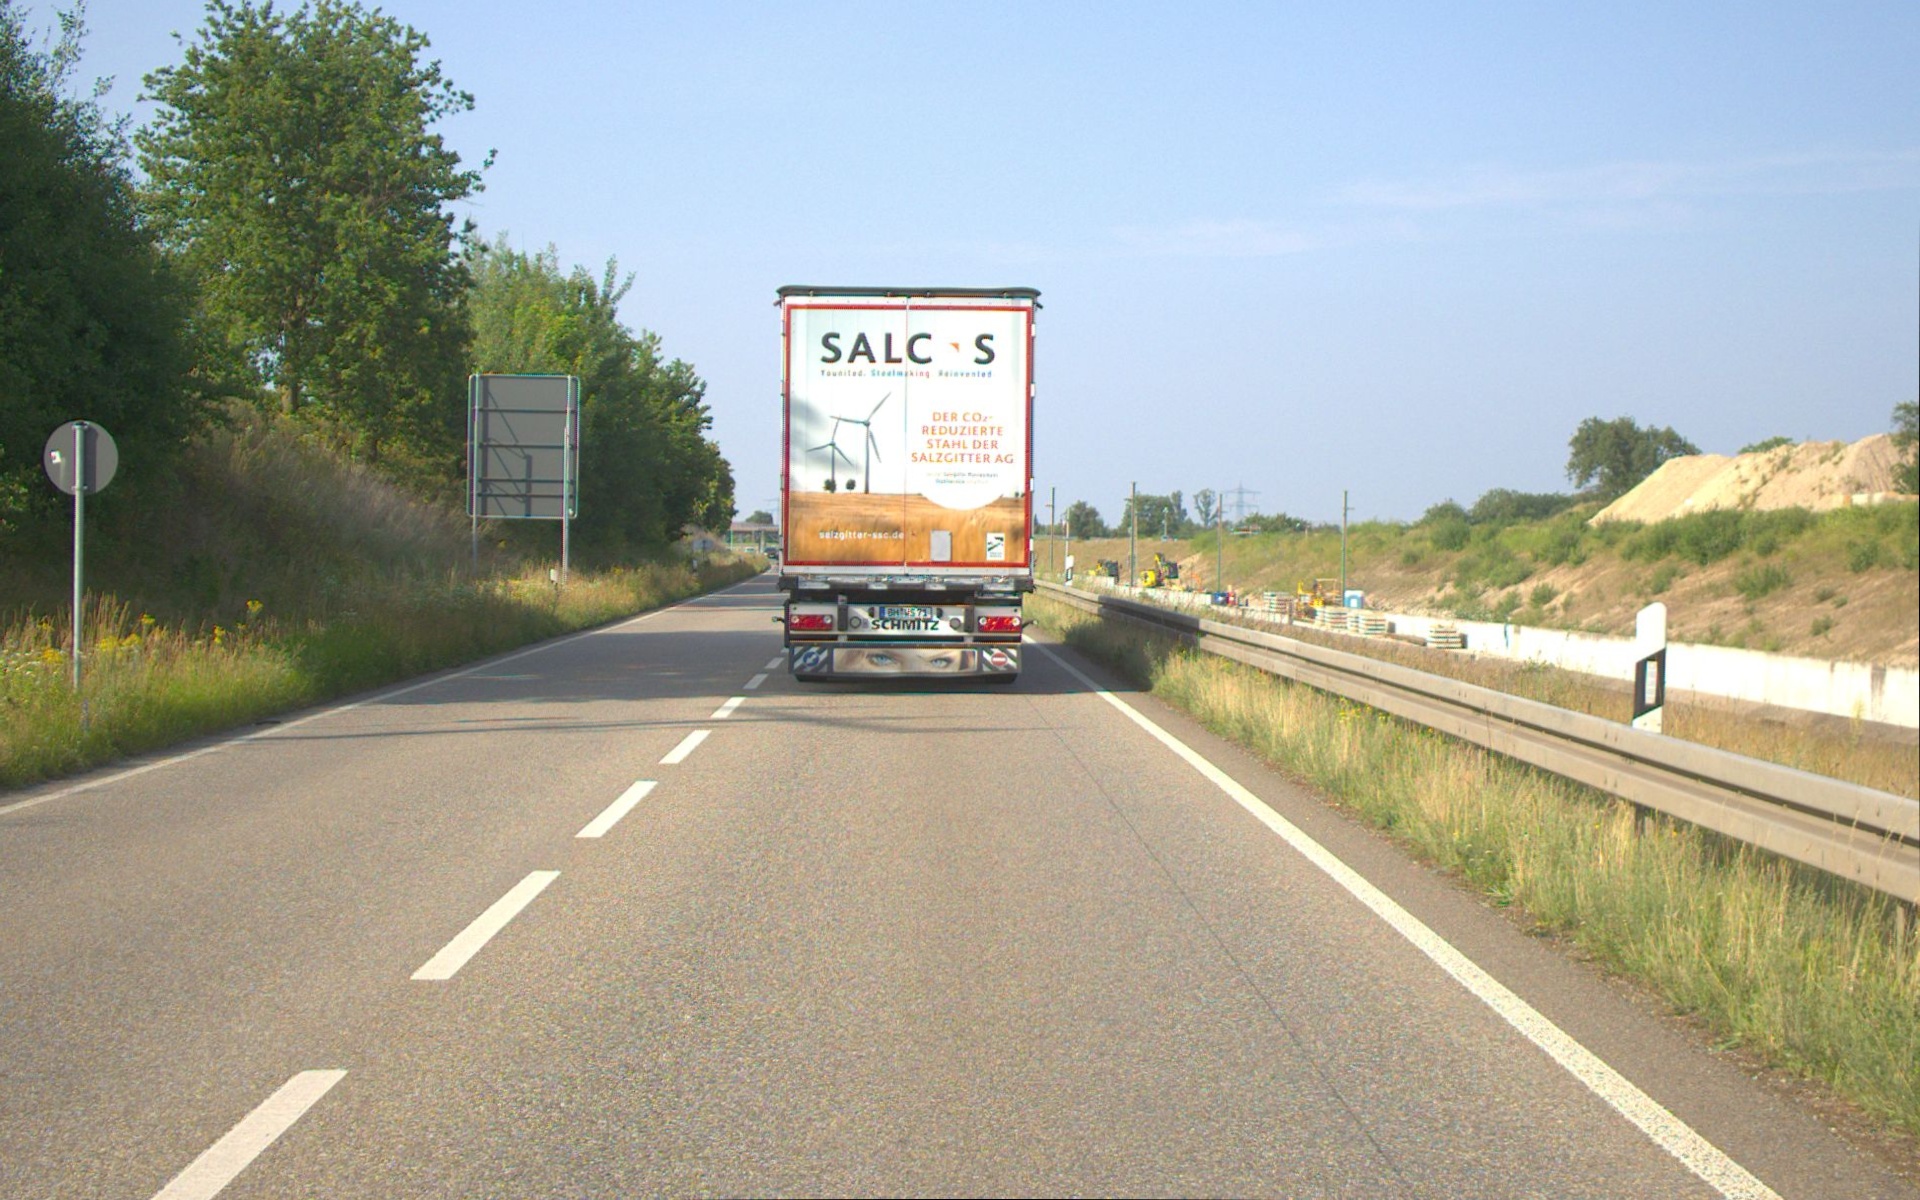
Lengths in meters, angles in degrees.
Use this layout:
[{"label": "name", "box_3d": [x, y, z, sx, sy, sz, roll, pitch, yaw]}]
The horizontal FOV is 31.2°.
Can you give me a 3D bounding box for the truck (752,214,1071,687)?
[{"label": "truck", "box_3d": [-0.626, -1.552, 38.238, 3.153, 4.672, 8.442, 0, 1, -2]}]
